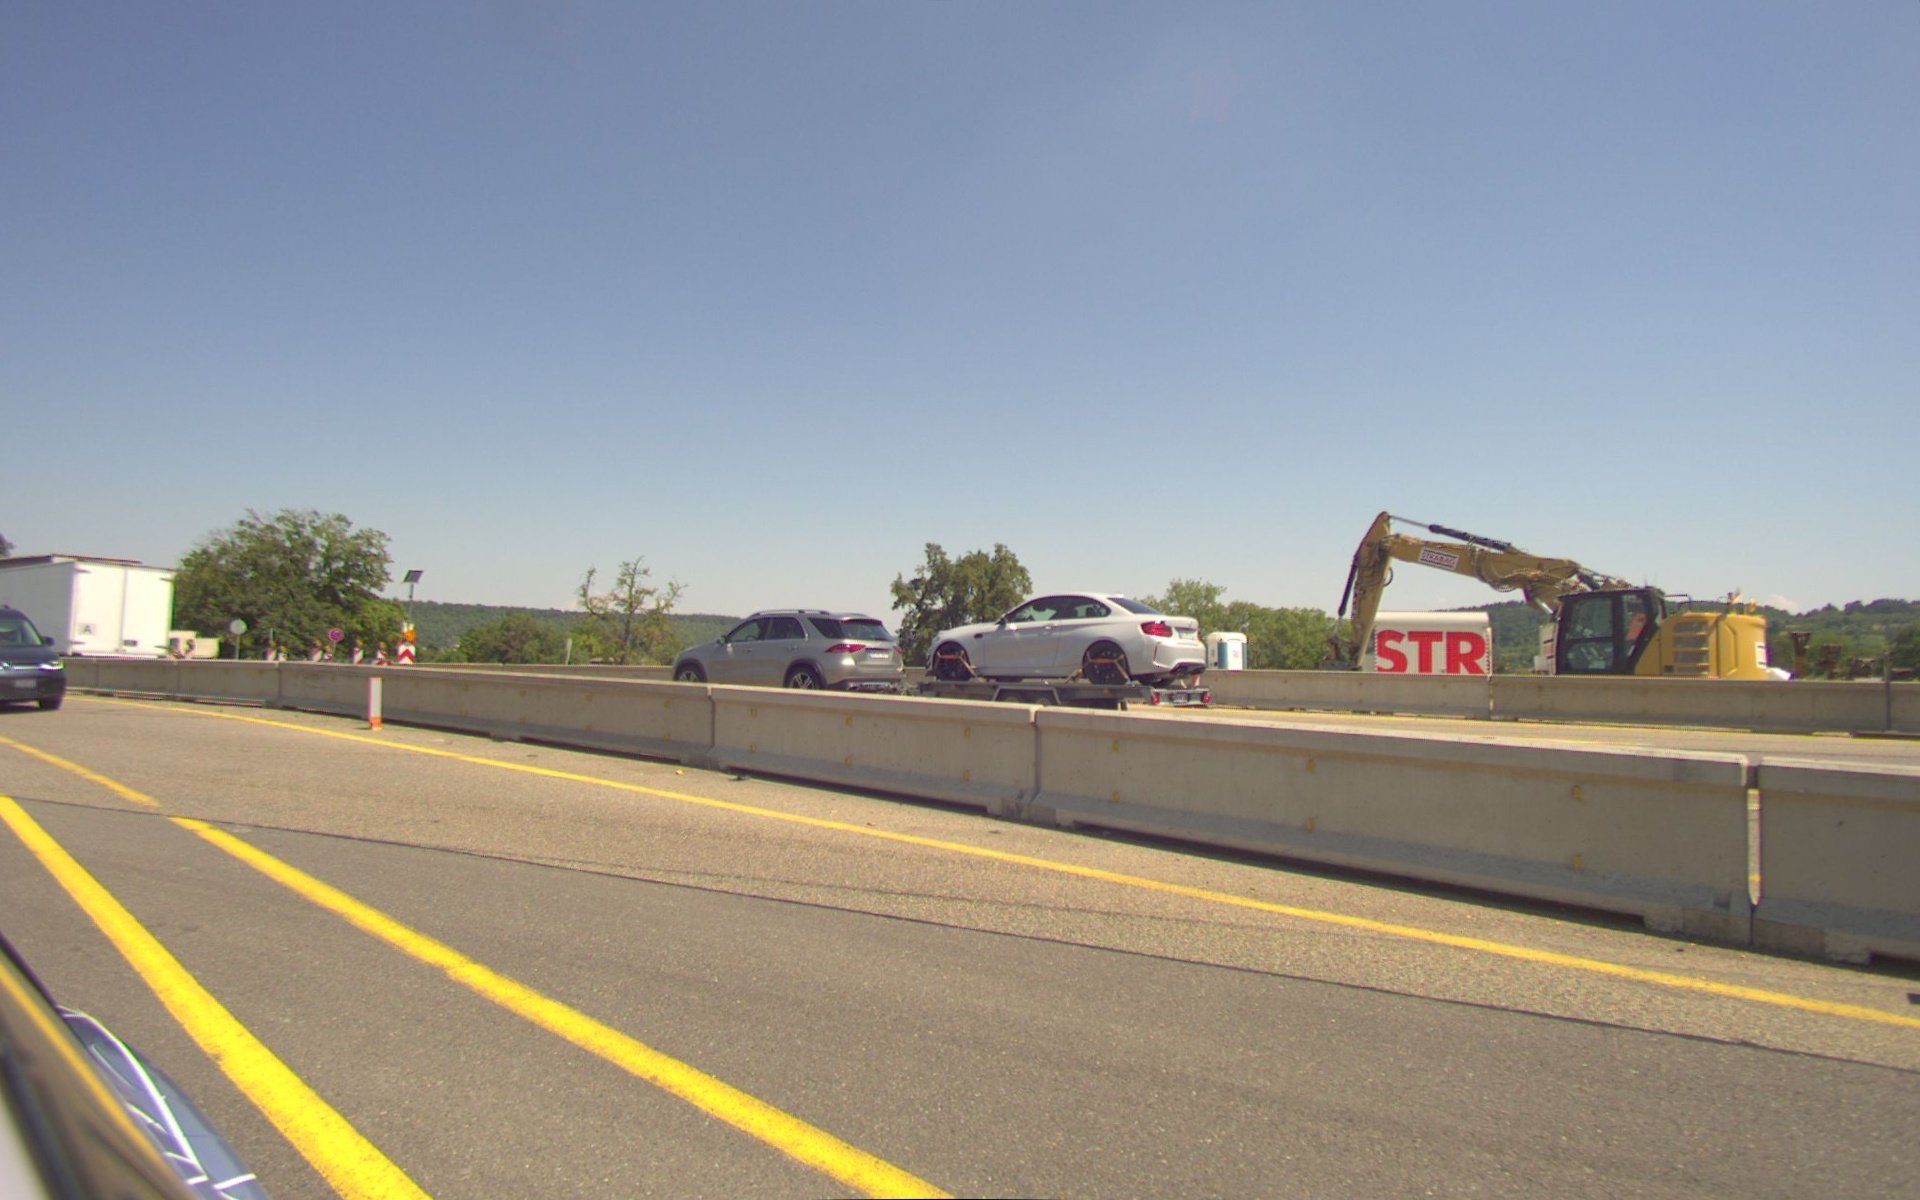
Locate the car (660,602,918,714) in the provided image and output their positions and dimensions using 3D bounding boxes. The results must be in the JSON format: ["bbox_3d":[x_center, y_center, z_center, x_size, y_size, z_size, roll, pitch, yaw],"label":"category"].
[{"bbox_3d":[-3.243,1.038,18.685,4.897,1.820,1.849,-2,-3,37],"label":"car"}]

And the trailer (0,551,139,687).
[{"bbox_3d":[-33.917,0.754,34.866,12.970,4.184,2.577,-1,-3,21],"label":"trailer"}]

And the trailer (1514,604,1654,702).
[{"bbox_3d":[20.930,1.764,34.313,2.862,3.020,5.544,-1,-3,20],"label":"trailer"}]

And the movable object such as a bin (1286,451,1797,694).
[{"bbox_3d":[12.302,-0.316,22.451,9.330,4.363,2.890,-3,-3,45],"label":"movable object such as a bin"}]

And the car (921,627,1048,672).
[{"bbox_3d":[0.987,1.991,40.695,4.848,1.726,1.714,-1,-3,20],"label":"car"}]

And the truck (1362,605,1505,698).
[{"bbox_3d":[16.350,1.778,35.259,4.233,3.067,2.332,-1,-3,21],"label":"truck"}]

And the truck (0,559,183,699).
[{"bbox_3d":[-24.327,0.817,27.261,6.890,3.407,2.565,-1,-3,26],"label":"truck"}]

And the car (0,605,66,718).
[{"bbox_3d":[-17.186,1.029,17.535,4.600,1.803,1.901,-2,-2,40],"label":"car"}]

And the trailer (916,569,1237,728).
[{"bbox_3d":[1.640,0.711,15.080,4.427,2.037,1.849,-2,-3,37],"label":"trailer"}]
